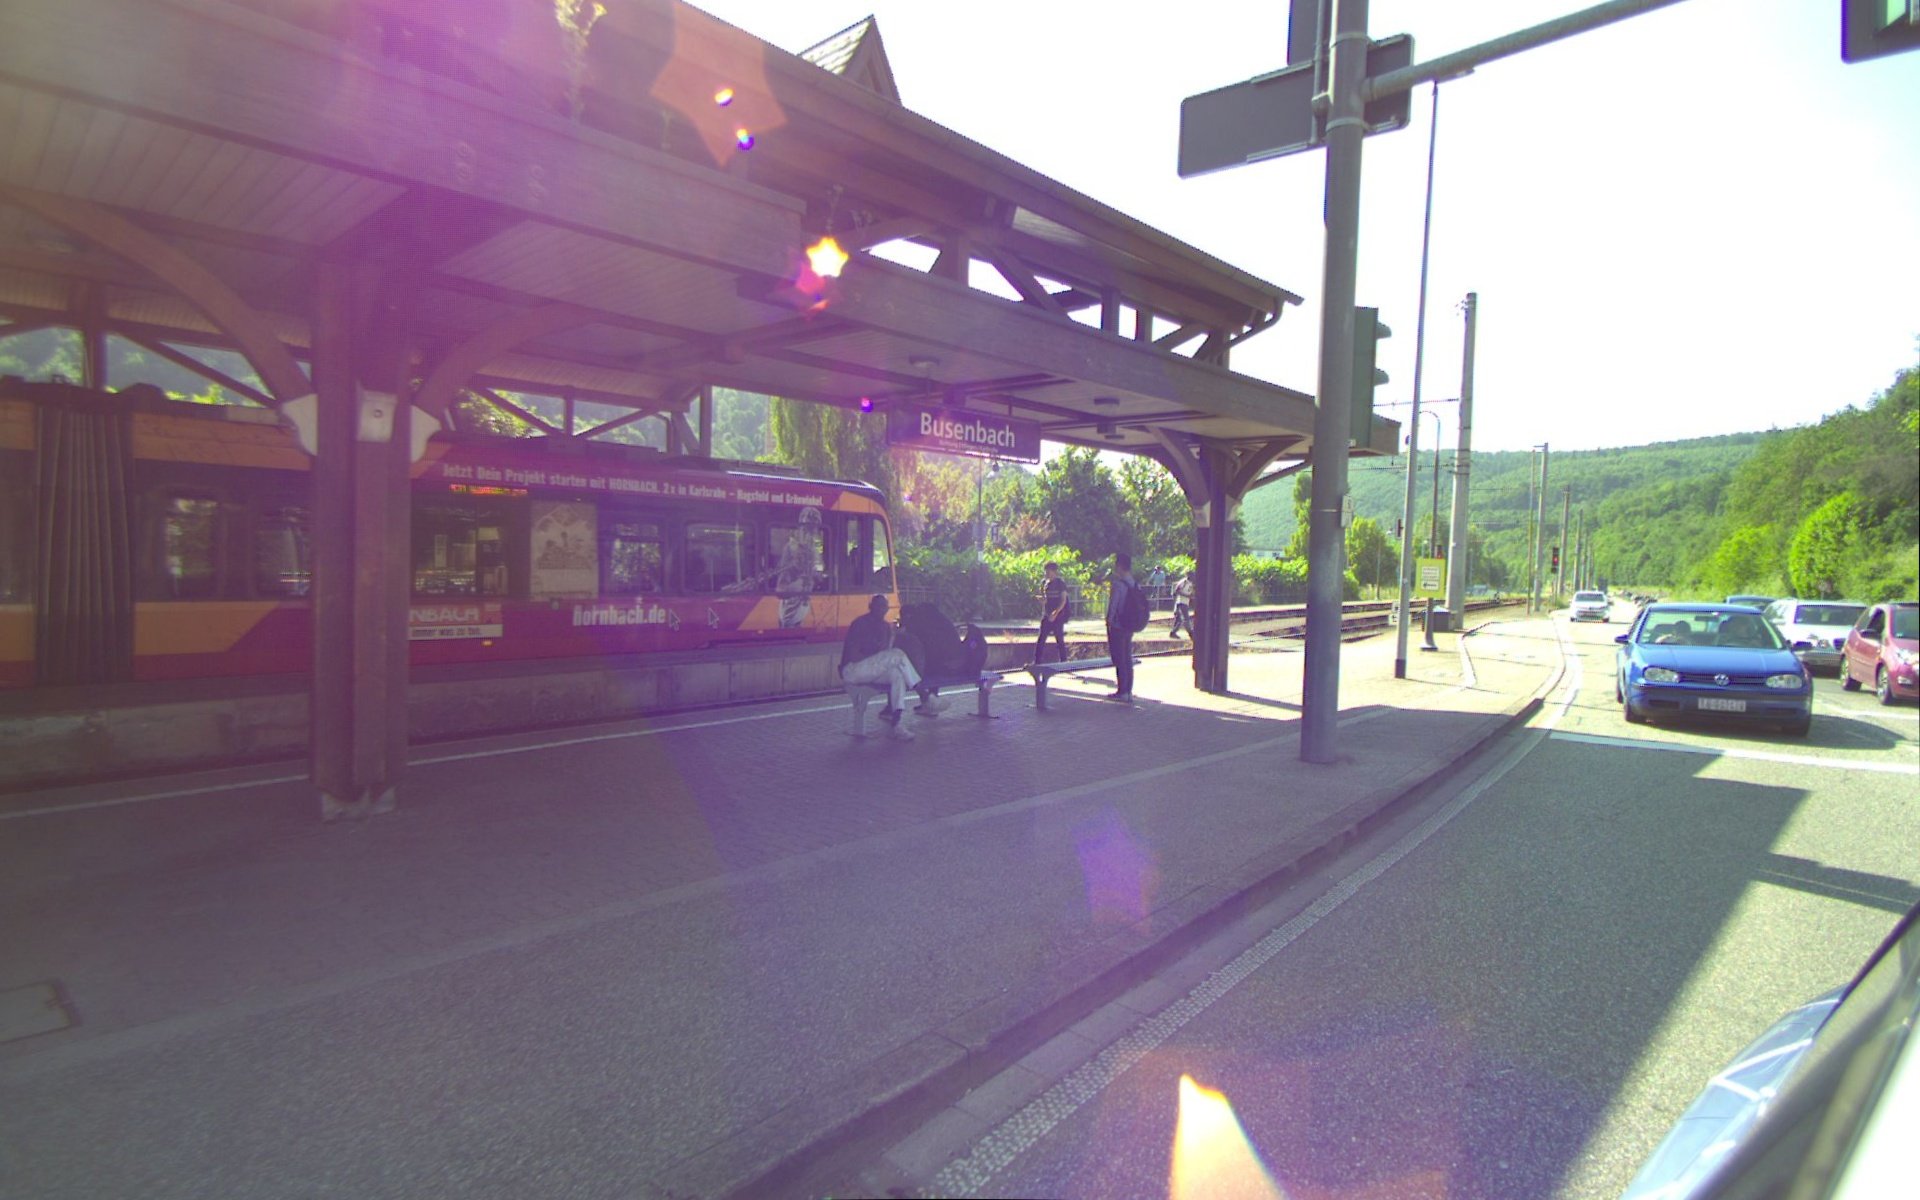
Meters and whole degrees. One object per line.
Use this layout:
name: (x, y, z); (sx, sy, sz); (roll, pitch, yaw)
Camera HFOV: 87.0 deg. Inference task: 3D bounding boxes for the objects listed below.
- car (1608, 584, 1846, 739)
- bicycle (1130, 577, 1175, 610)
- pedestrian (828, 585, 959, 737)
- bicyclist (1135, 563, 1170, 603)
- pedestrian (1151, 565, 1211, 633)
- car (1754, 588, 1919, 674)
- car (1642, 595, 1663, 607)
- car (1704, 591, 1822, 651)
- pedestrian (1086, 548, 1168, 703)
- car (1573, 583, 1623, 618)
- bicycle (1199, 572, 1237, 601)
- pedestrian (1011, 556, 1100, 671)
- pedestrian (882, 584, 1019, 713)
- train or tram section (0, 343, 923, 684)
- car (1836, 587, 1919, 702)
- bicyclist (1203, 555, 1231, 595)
car: (9.175, 0.582, 12.474); (1.852, 1.501, 4.254); (2, 2, 31)
bicycle: (7.662, -0.251, 40.193); (0.868, 1.270, 2.265); (0, -1, 37)
pedestrian: (-0.584, 0.498, 8.839); (0.987, 1.251, 0.589); (0, -1, 34)
bicyclist: (7.641, -0.670, 40.108); (1.004, 1.573, 1.027); (0, -1, 37)
pedestrian: (5.860, -0.017, 26.849); (1.247, 1.759, 0.902); (0, -1, 45)
car: (17.759, 0.567, 20.478); (1.964, 1.523, 4.700); (1, 0, 30)
car: (100.606, 0.209, 146.994); (1.981, 1.705, 3.962); (0, -1, 27)
car: (22.276, 0.541, 28.234); (1.964, 1.523, 3.944); (1, 0, 30)
pedestrian: (1.936, 0.273, 11.690); (0.654, 1.712, 0.730); (2, 2, 34)
car: (31.050, 0.005, 49.279); (1.985, 1.605, 3.953); (0, 0, 33)
bicycle: (11.643, -0.603, 45.583); (0.868, 1.270, 2.265); (0, -1, 37)
pedestrian: (1.366, 0.177, 14.488); (0.860, 1.566, 0.908); (2, 1, 42)
pedestrian: (-0.088, 0.438, 9.995); (1.003, 1.174, 0.937); (2, 1, 34)
train or tram section: (-6.451, -0.956, 15.910); (2.853, 3.407, 14.140); (1, 1, 41)
car: (14.597, 0.625, 15.059); (1.649, 1.553, 3.911); (2, 1, 31)
bicyclist: (11.553, -1.103, 45.488); (1.004, 1.748, 0.854); (0, -1, 37)
